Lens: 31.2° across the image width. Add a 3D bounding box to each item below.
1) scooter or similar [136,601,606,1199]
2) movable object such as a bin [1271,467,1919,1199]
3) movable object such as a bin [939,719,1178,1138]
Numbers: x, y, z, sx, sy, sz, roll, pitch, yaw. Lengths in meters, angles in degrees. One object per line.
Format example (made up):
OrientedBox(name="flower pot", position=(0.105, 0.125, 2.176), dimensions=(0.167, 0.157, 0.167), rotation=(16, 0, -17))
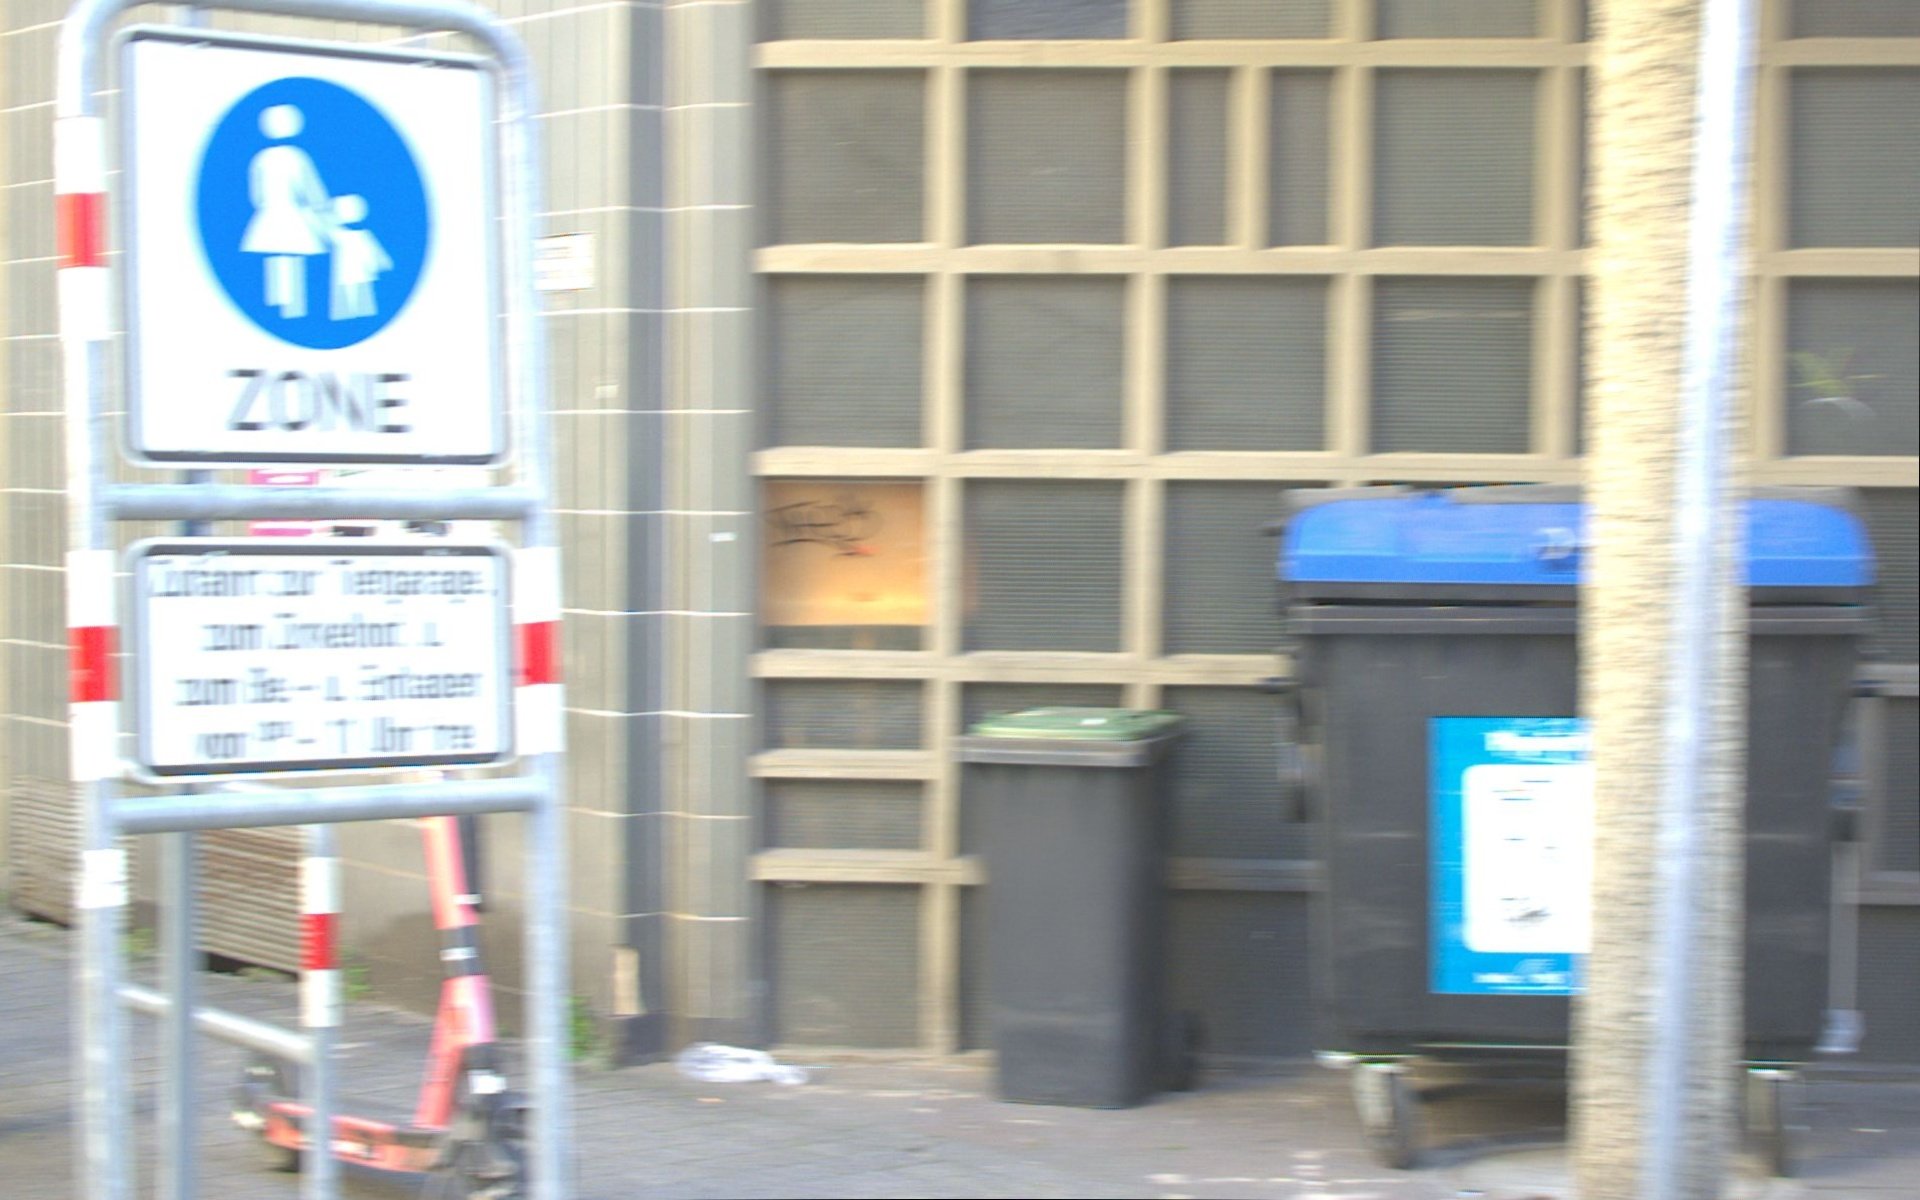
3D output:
OrientedBox(name="scooter or similar", position=(-1.216, 0.649, 6.948), dimensions=(0.307, 1.248, 1.238), rotation=(-1, 2, -42))
OrientedBox(name="movable object such as a bin", position=(1.366, 0.517, 7.713), dimensions=(1.287, 1.583, 1.155), rotation=(1, 3, 6))
OrientedBox(name="movable object such as a bin", position=(0.242, 0.766, 8.180), dimensions=(0.540, 0.920, 0.513), rotation=(1, 2, 4))
